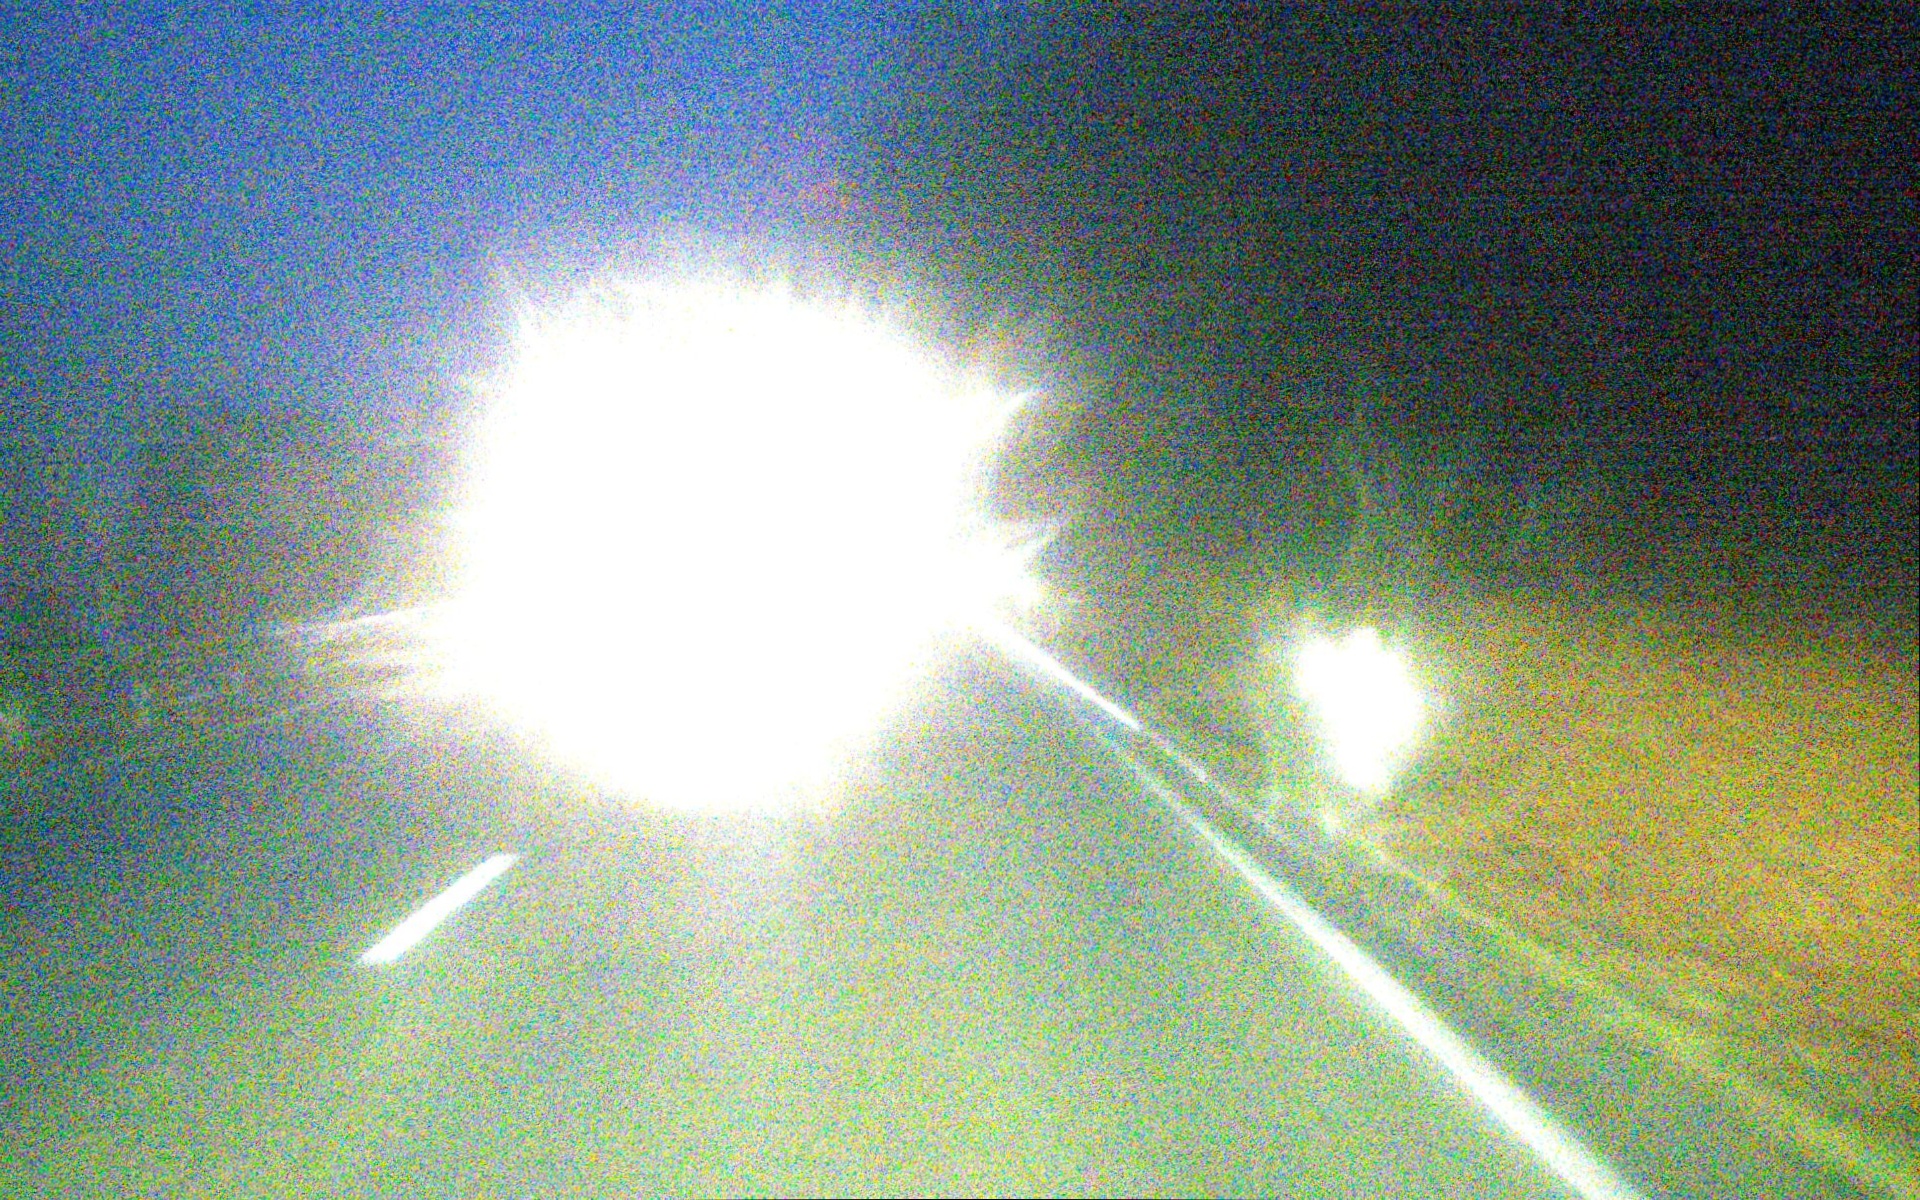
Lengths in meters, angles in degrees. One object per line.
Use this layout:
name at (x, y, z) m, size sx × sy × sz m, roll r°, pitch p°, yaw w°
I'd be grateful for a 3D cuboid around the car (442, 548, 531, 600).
car at (-13.807, -0.785, 100.513) m, size 1.993 × 1.443 × 4.430 m, roll 1°, pitch 1°, yaw 0°

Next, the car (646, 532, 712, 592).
car at (-9.726, -1.341, 119.295) m, size 1.993 × 2.007 × 4.000 m, roll 1°, pitch 1°, yaw -1°

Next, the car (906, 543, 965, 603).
car at (-0.871, -0.965, 119.735) m, size 1.993 × 2.007 × 4.000 m, roll 1°, pitch 1°, yaw -1°

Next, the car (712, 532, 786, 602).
car at (-6.308, -1.002, 102.966) m, size 1.993 × 2.007 × 4.000 m, roll 1°, pitch 1°, yaw -1°

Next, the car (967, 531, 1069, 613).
car at (1.143, -0.591, 69.427) m, size 1.993 × 1.612 × 4.000 m, roll 0°, pitch 1°, yaw 0°
